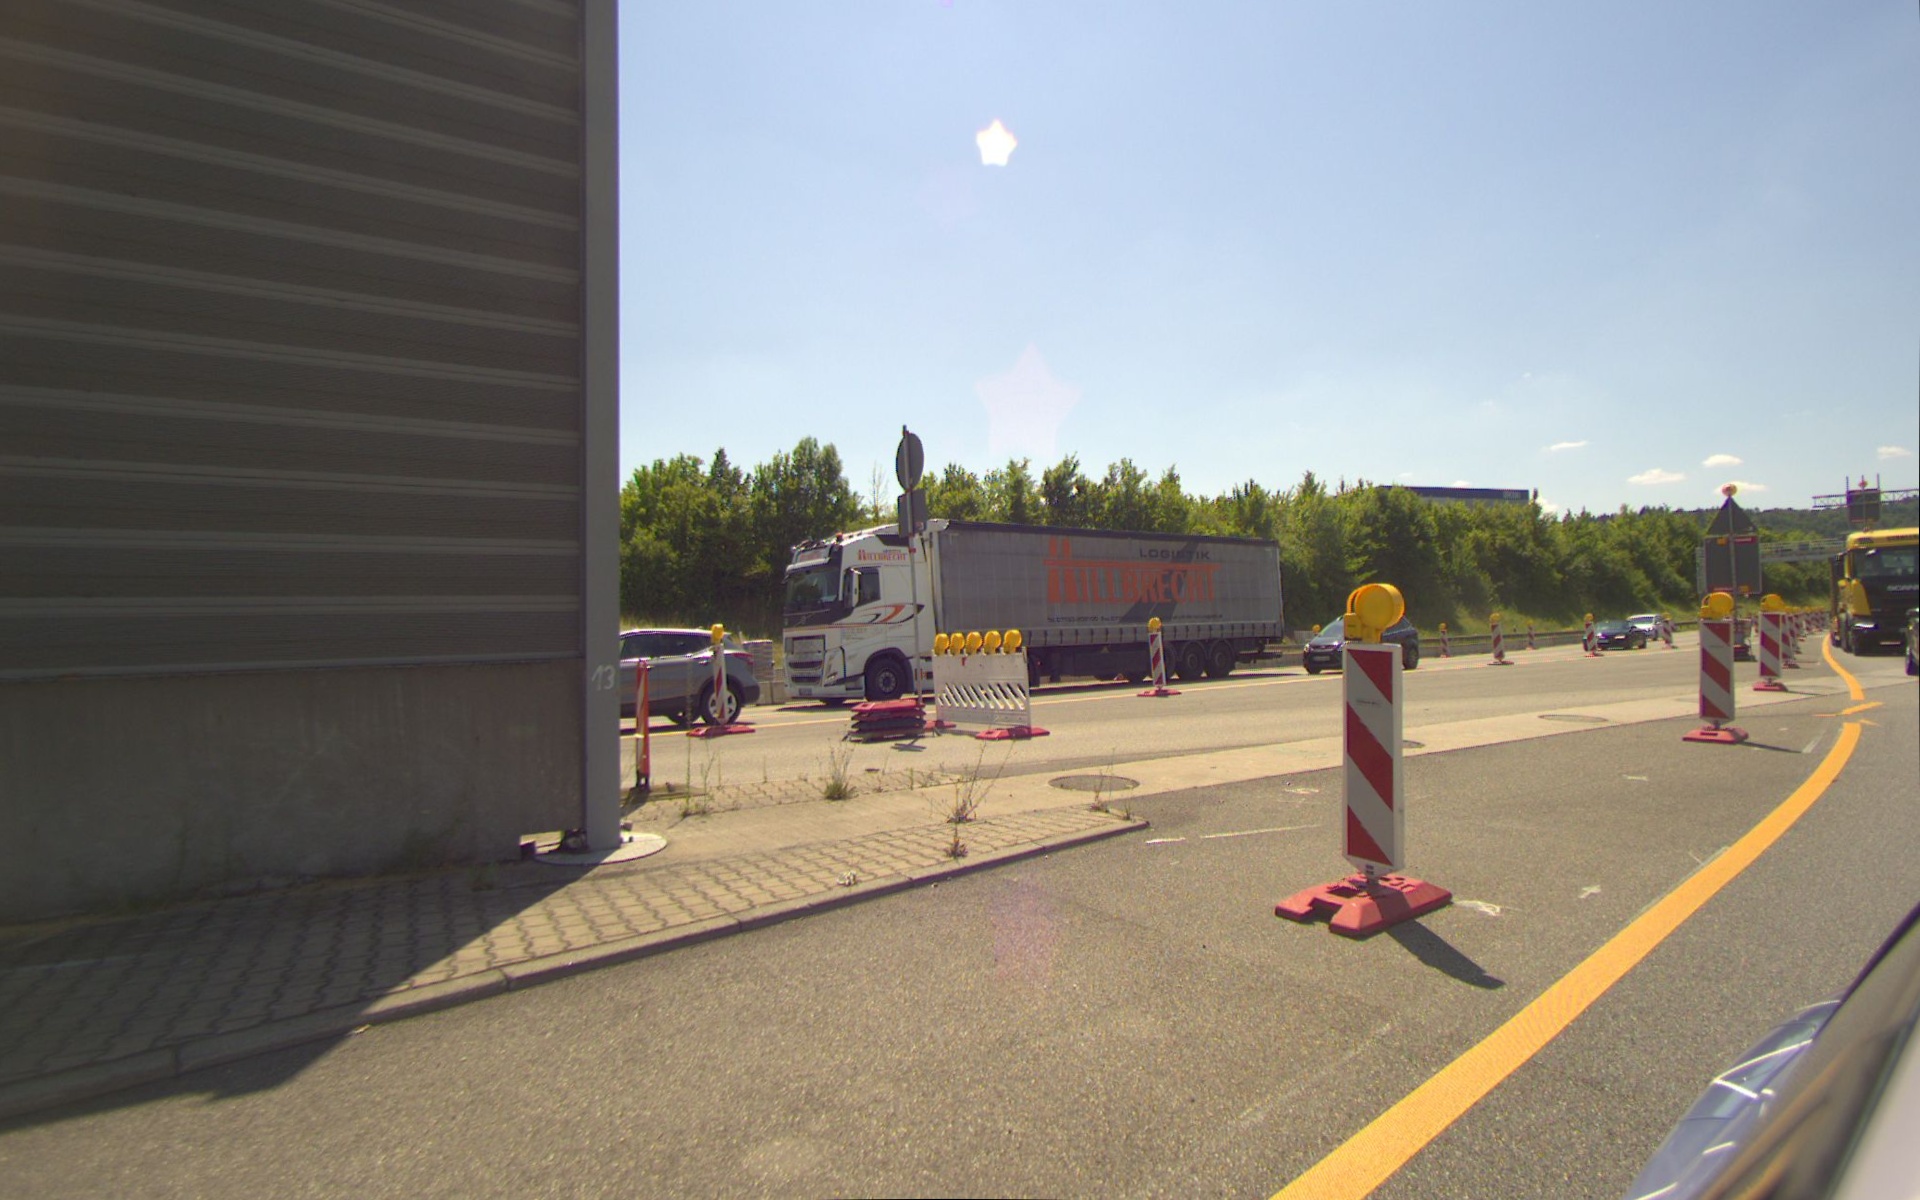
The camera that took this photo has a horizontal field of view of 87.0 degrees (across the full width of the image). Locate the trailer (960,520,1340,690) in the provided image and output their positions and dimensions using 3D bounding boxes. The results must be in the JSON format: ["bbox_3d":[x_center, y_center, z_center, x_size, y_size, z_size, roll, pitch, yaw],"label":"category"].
[{"bbox_3d":[6.113,0.125,29.301,13.623,4.005,2.544,-1,-4,-40],"label":"trailer"}]

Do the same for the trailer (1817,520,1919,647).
[{"bbox_3d":[33.907,-0.416,36.990,3.221,3.715,17.174,-5,-4,39],"label":"trailer"}]

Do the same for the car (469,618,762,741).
[{"bbox_3d":[-5.311,1.169,15.805,3.957,1.573,1.709,-1,-3,-37],"label":"car"}]

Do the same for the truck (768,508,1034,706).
[{"bbox_3d":[-1.256,0.202,23.116,5.499,4.003,2.531,0,-4,-40],"label":"truck"}]

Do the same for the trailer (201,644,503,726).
[{"bbox_3d":[-15.135,2.012,25.476,6.131,1.589,2.597,0,-1,-43],"label":"trailer"}]

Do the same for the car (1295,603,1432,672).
[{"bbox_3d":[11.721,1.060,29.268,4.417,1.717,1.816,-1,-4,-42],"label":"car"}]

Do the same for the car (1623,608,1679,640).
[{"bbox_3d":[41.980,1.458,61.424,4.418,1.717,1.816,-1,-3,-43],"label":"car"}]

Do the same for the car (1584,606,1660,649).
[{"bbox_3d":[30.171,1.231,46.081,4.418,1.717,1.816,-1,-4,-43],"label":"car"}]

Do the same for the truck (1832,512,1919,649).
[{"bbox_3d":[28.731,-0.535,30.501,3.215,3.709,6.982,-5,-4,39],"label":"truck"}]
